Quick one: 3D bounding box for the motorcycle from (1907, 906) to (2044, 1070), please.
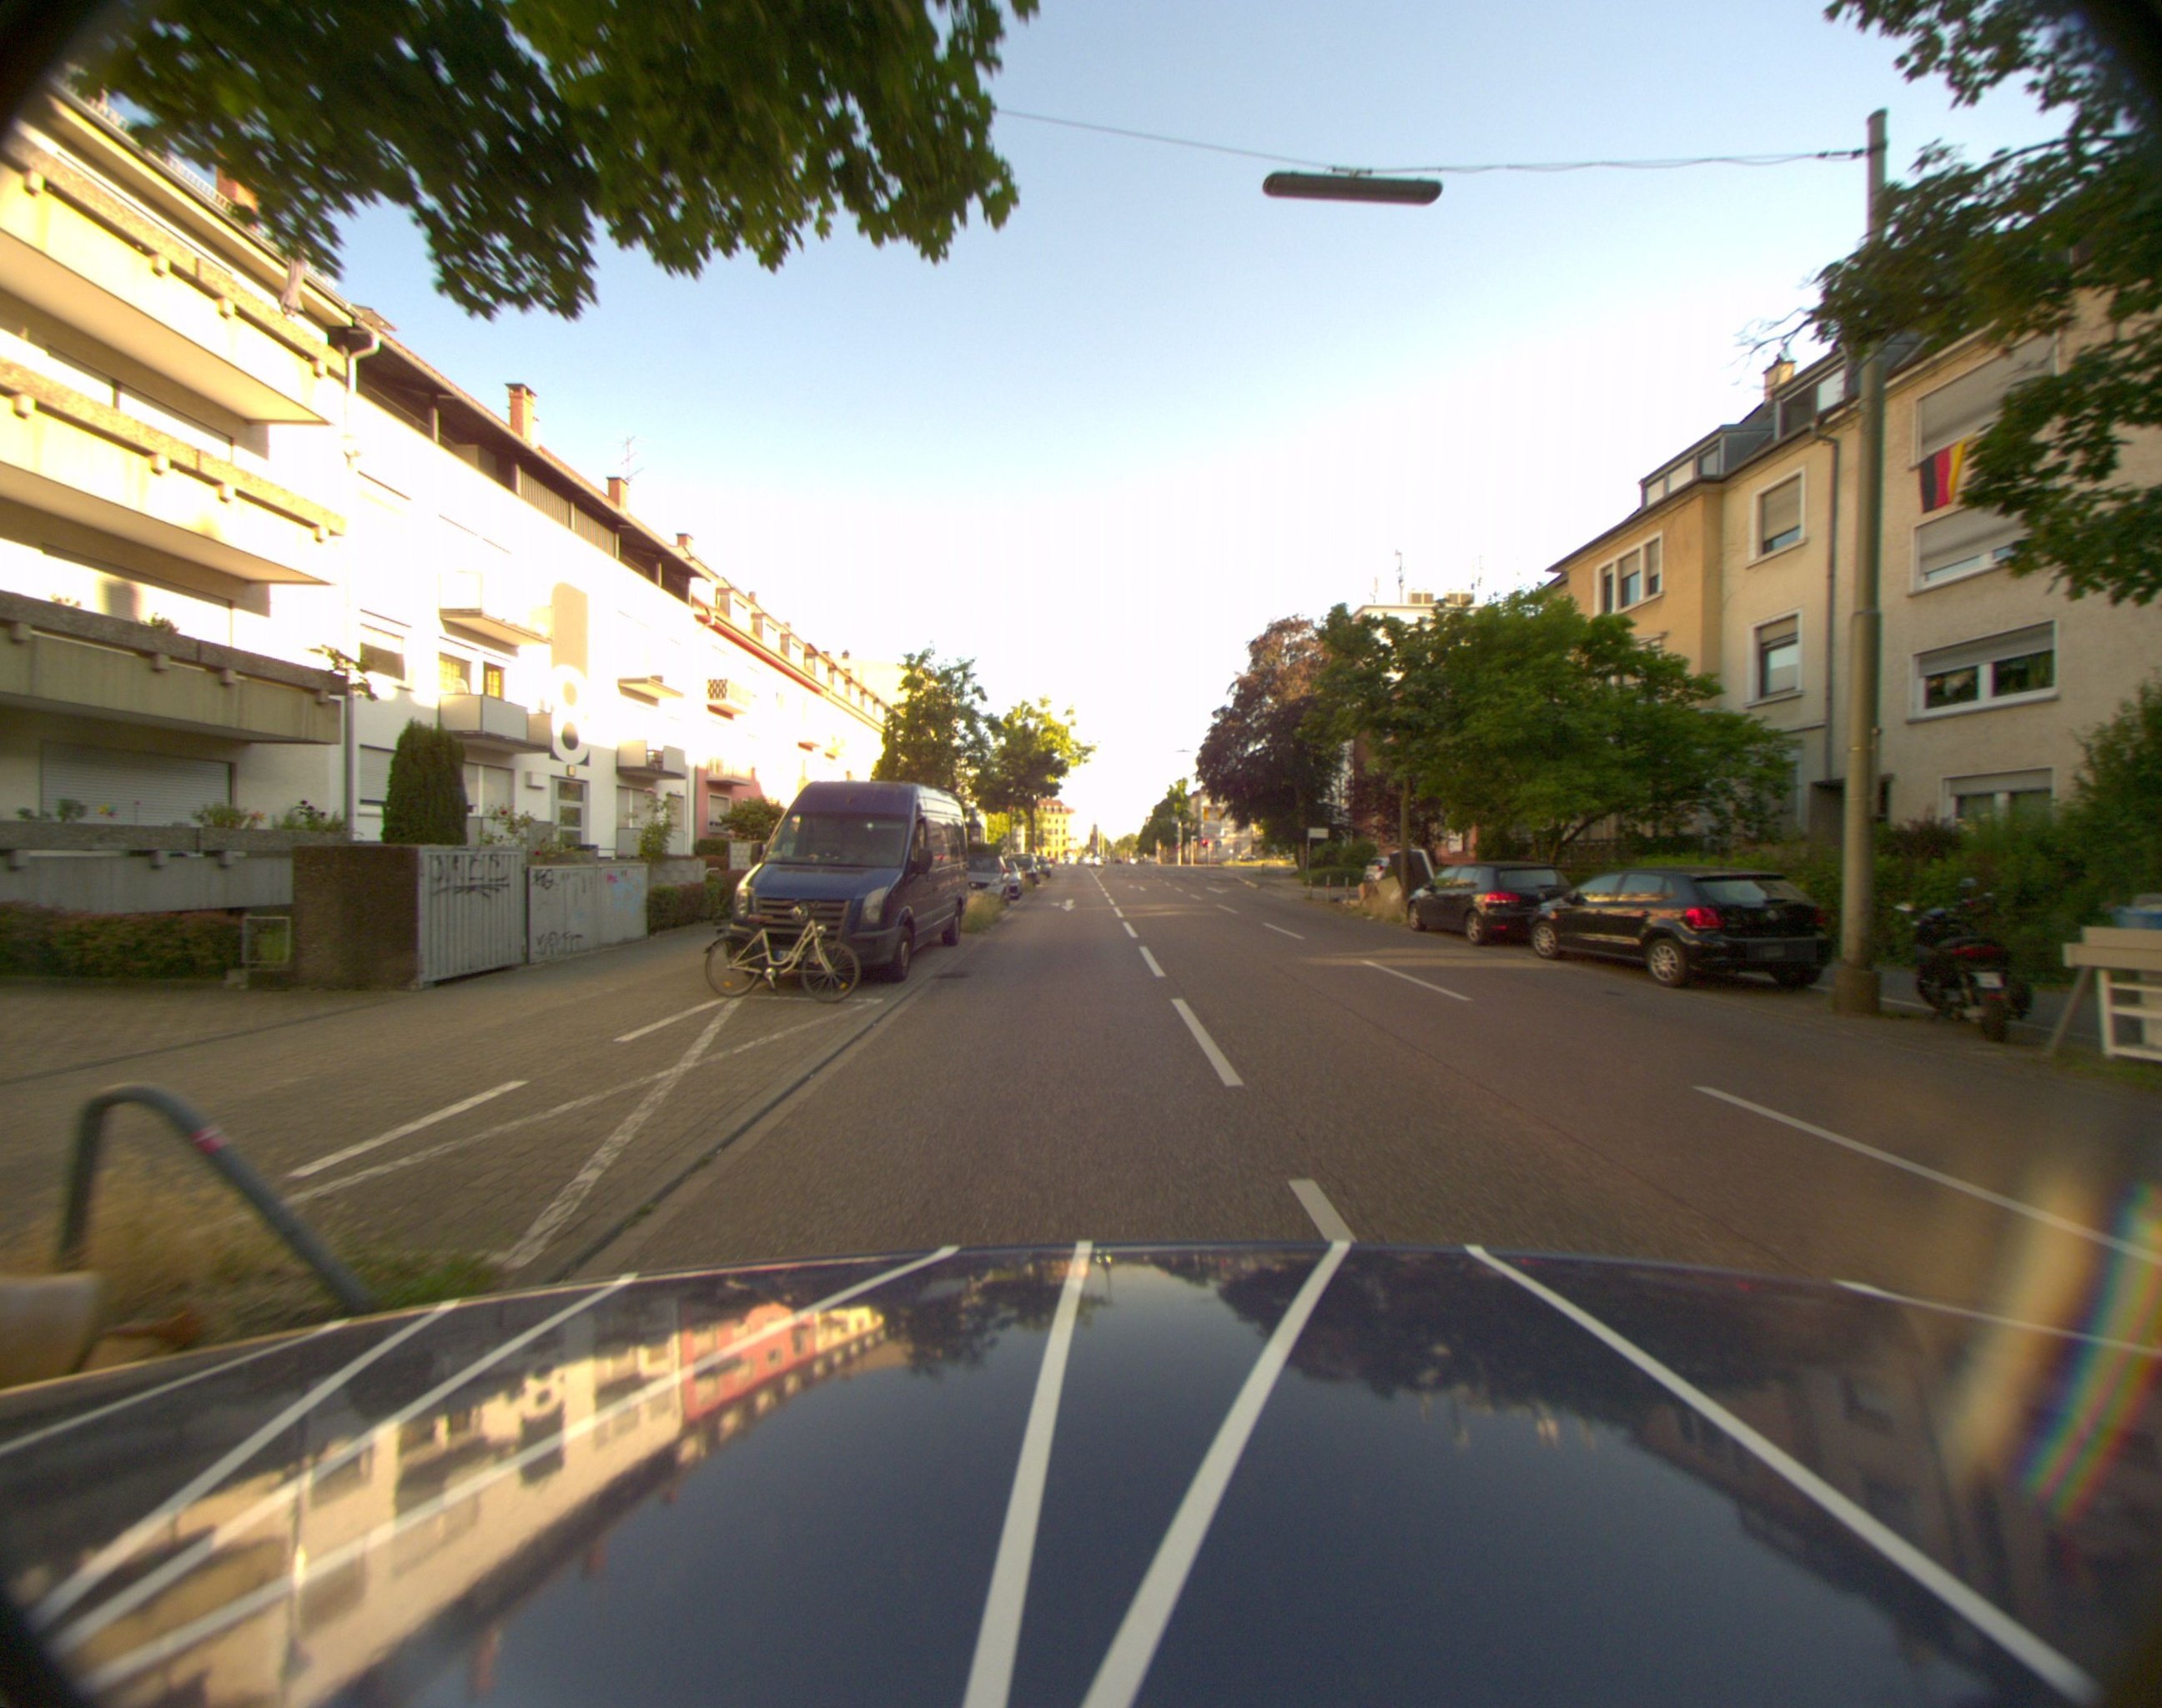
[{"bbox_3d":[7.920,1.114,6.789,0.440,1.185,1.710,0,0,38],"label":"motorcycle"}]

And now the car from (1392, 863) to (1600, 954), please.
[{"bbox_3d":[7.786,0.932,14.787,1.754,1.494,4.196,0,0,0],"label":"car"}]

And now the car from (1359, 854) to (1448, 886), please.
[{"bbox_3d":[15.564,0.752,36.800,3.507,1.477,1.815,0,0,-4],"label":"car"}]

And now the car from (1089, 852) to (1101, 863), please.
[{"bbox_3d":[2.043,0.529,112.982,1.764,1.489,3.708,0,0,0],"label":"car"}]

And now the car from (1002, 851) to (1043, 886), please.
[{"bbox_3d":[-2.869,0.670,37.963,1.737,1.641,4.291,0,0,0],"label":"car"}]

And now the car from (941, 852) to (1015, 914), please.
[{"bbox_3d":[-2.949,0.780,22.438,1.777,1.633,3.756,0,1,-2],"label":"car"}]

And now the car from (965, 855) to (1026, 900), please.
[{"bbox_3d":[-2.988,0.775,27.500,1.925,1.477,4.744,0,0,-3],"label":"car"}]

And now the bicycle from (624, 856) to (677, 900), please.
[{"bbox_3d":[-11.042,0.606,19.534,0.493,1.083,1.544,0,0,0],"label":"bicycle"}]

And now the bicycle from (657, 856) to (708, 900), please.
[{"bbox_3d":[-10.303,0.605,19.688,0.493,1.083,1.544,0,0,0],"label":"bicycle"}]

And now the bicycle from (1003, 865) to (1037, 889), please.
[{"bbox_3d":[-2.741,1.025,34.015,1.482,1.053,0.411,0,0,-13],"label":"bicycle"}]

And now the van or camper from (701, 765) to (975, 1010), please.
[{"bbox_3d":[-3.044,0.327,11.215,2.073,2.660,5.988,0,1,0],"label":"van or camper"}]

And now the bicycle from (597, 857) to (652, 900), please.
[{"bbox_3d":[-11.769,0.607,19.617,0.493,1.083,1.544,0,0,0],"label":"bicycle"}]

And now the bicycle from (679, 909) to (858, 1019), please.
[{"bbox_3d":[-3.236,1.126,7.904,1.705,1.083,0.404,0,0,3],"label":"bicycle"}]

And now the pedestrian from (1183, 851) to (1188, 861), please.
[{"bbox_3d":[18.395,0.321,133.746,0.678,1.698,1.084,0,0,-9],"label":"pedestrian"}]

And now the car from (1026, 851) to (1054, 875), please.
[{"bbox_3d":[-2.773,0.607,51.751,1.737,1.542,3.646,0,0,0],"label":"car"}]

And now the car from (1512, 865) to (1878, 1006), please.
[{"bbox_3d":[7.845,0.918,10.304,1.754,1.494,3.978,0,0,0],"label":"car"}]

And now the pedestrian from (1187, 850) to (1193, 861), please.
[{"bbox_3d":[19.139,0.268,133.628,0.821,1.838,1.169,0,0,-9],"label":"pedestrian"}]

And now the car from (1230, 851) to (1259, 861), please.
[{"bbox_3d":[23.699,0.288,110.132,3.646,1.437,1.999,0,0,-4],"label":"car"}]
